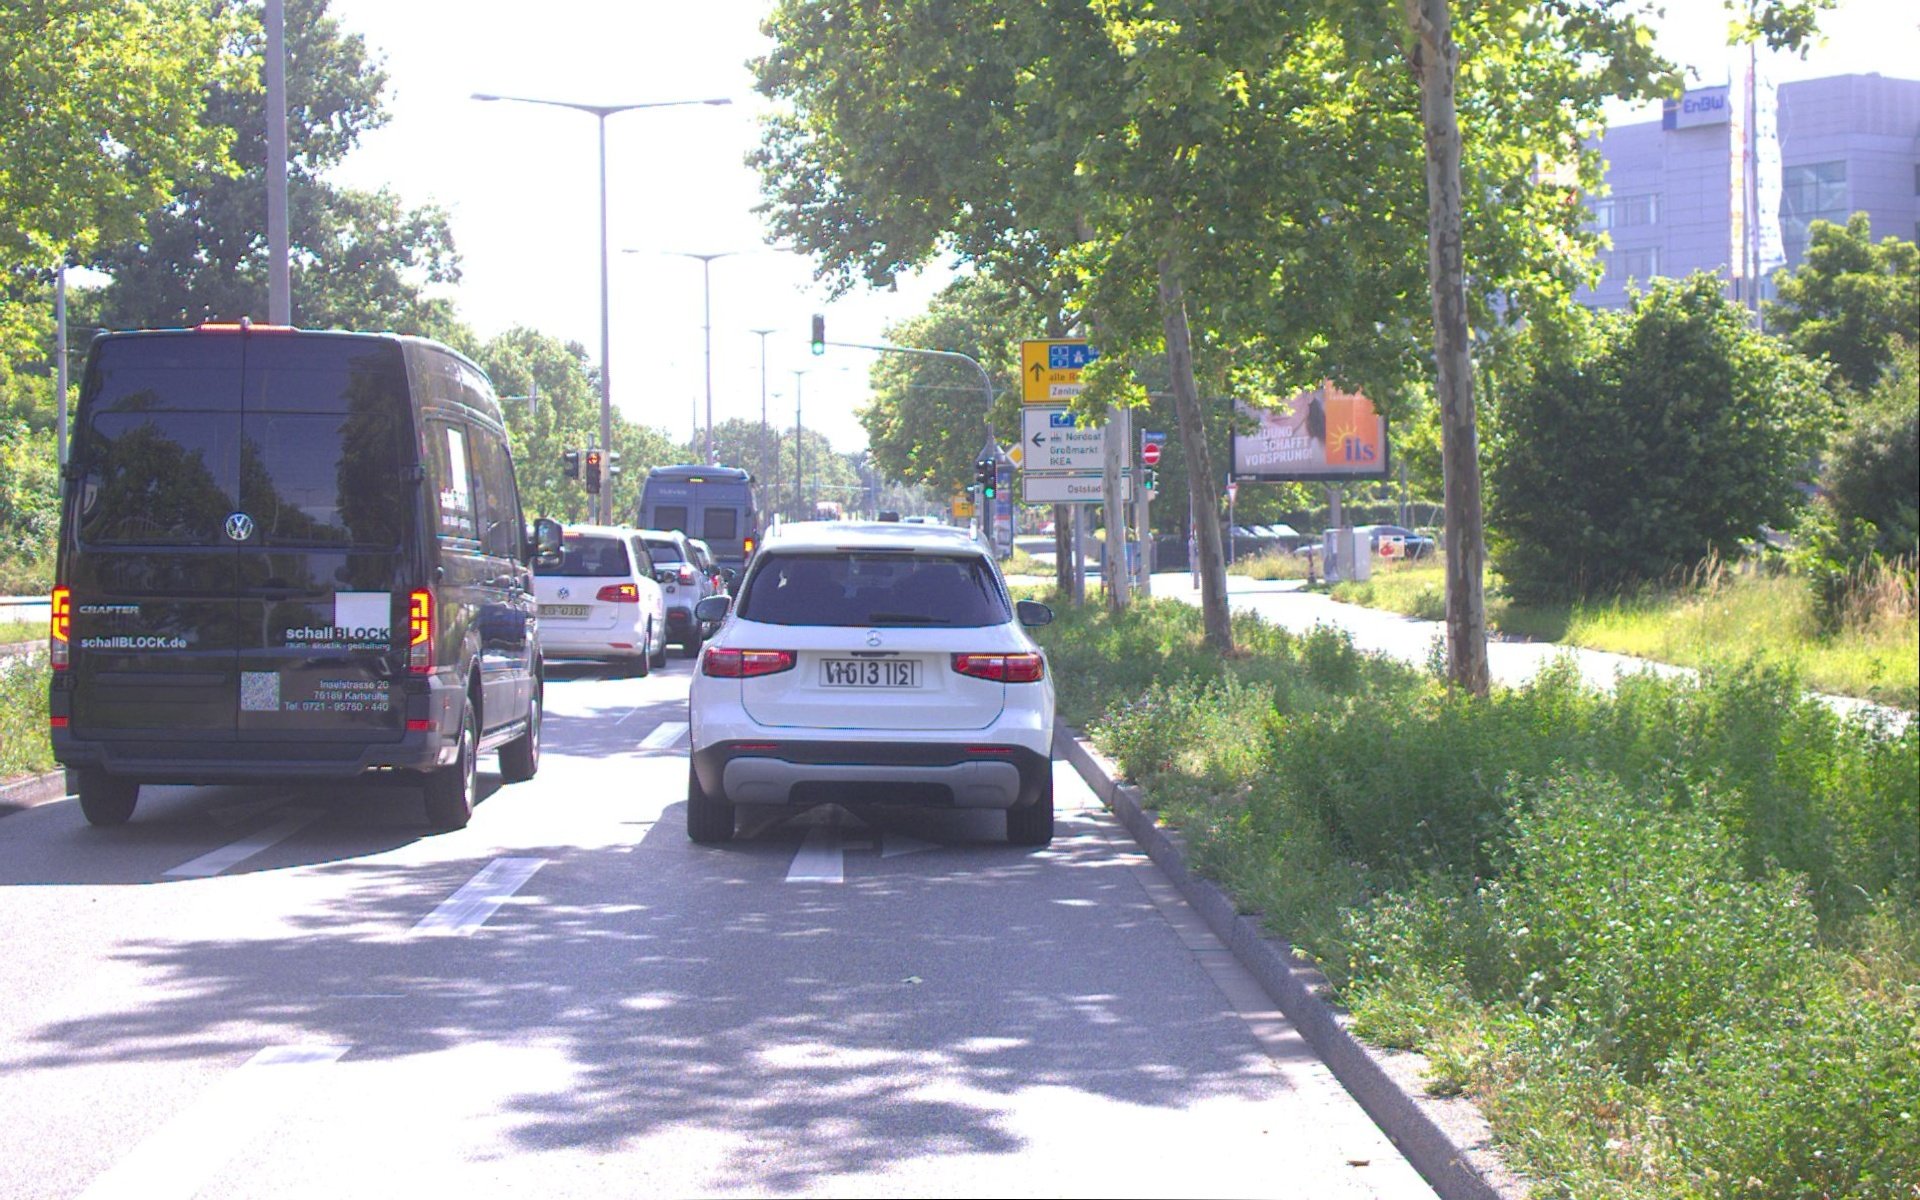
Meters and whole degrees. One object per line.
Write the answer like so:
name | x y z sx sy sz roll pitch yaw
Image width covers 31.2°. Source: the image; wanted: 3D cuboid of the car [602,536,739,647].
car | -4.162 -0.153 49.925 1.691 1.499 3.886 1 1 -1

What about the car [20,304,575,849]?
car | -3.533 -0.159 19.619 2.016 2.598 6.169 1 1 -1

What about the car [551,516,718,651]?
car | -4.127 -0.231 44.054 1.771 1.641 4.085 1 1 0

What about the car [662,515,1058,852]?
car | -0.422 0.363 18.352 1.854 1.602 4.000 0 1 2

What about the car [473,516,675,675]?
car | -4.219 -0.082 38.144 1.771 1.641 4.352 1 1 0

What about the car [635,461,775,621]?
car | -4.417 -1.023 60.255 2.081 2.647 4.874 1 1 0
